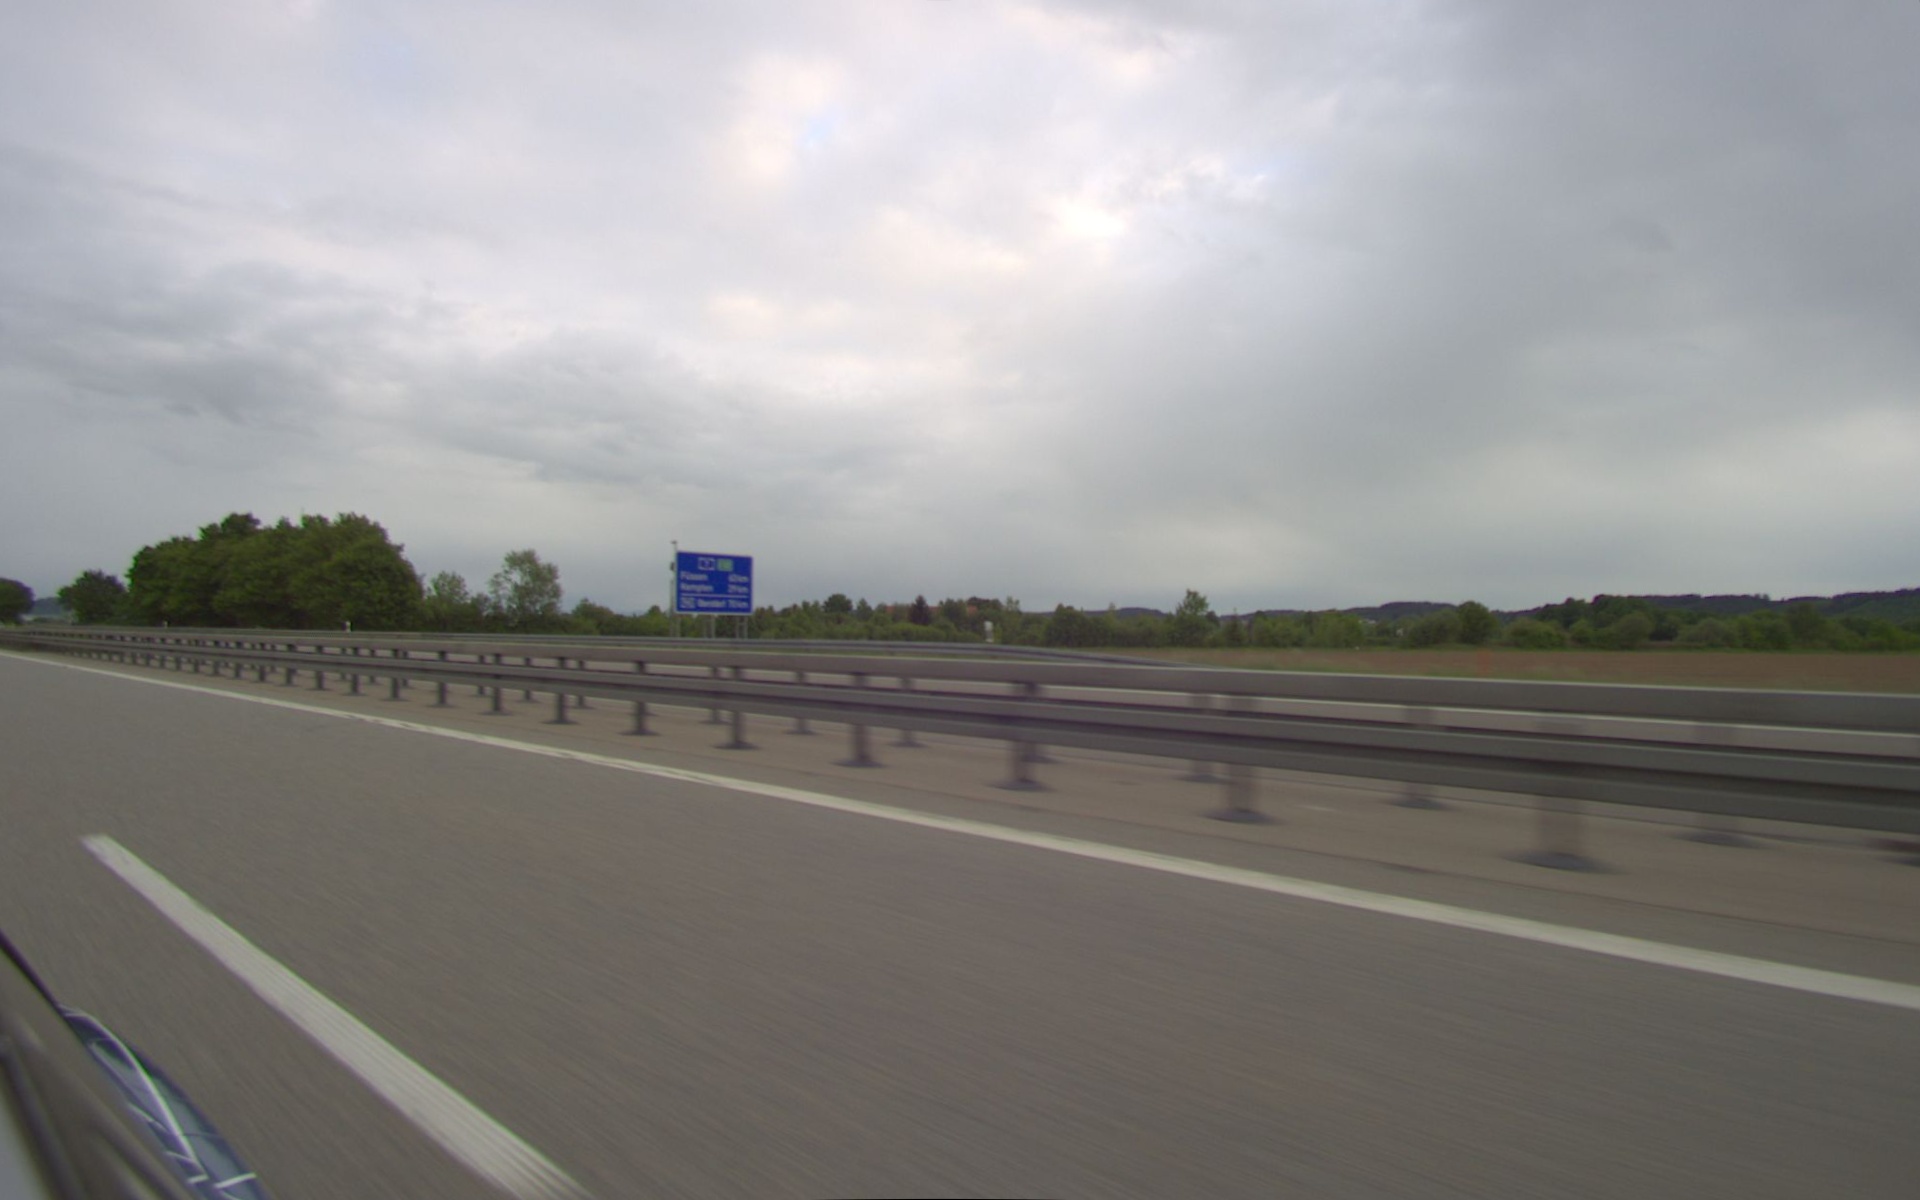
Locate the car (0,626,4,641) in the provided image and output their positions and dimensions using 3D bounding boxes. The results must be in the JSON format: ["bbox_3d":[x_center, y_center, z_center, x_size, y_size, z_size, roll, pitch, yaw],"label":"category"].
[{"bbox_3d":[-106.686,3.669,111.366,4.854,1.586,1.722,-1,-1,41],"label":"car"}]
